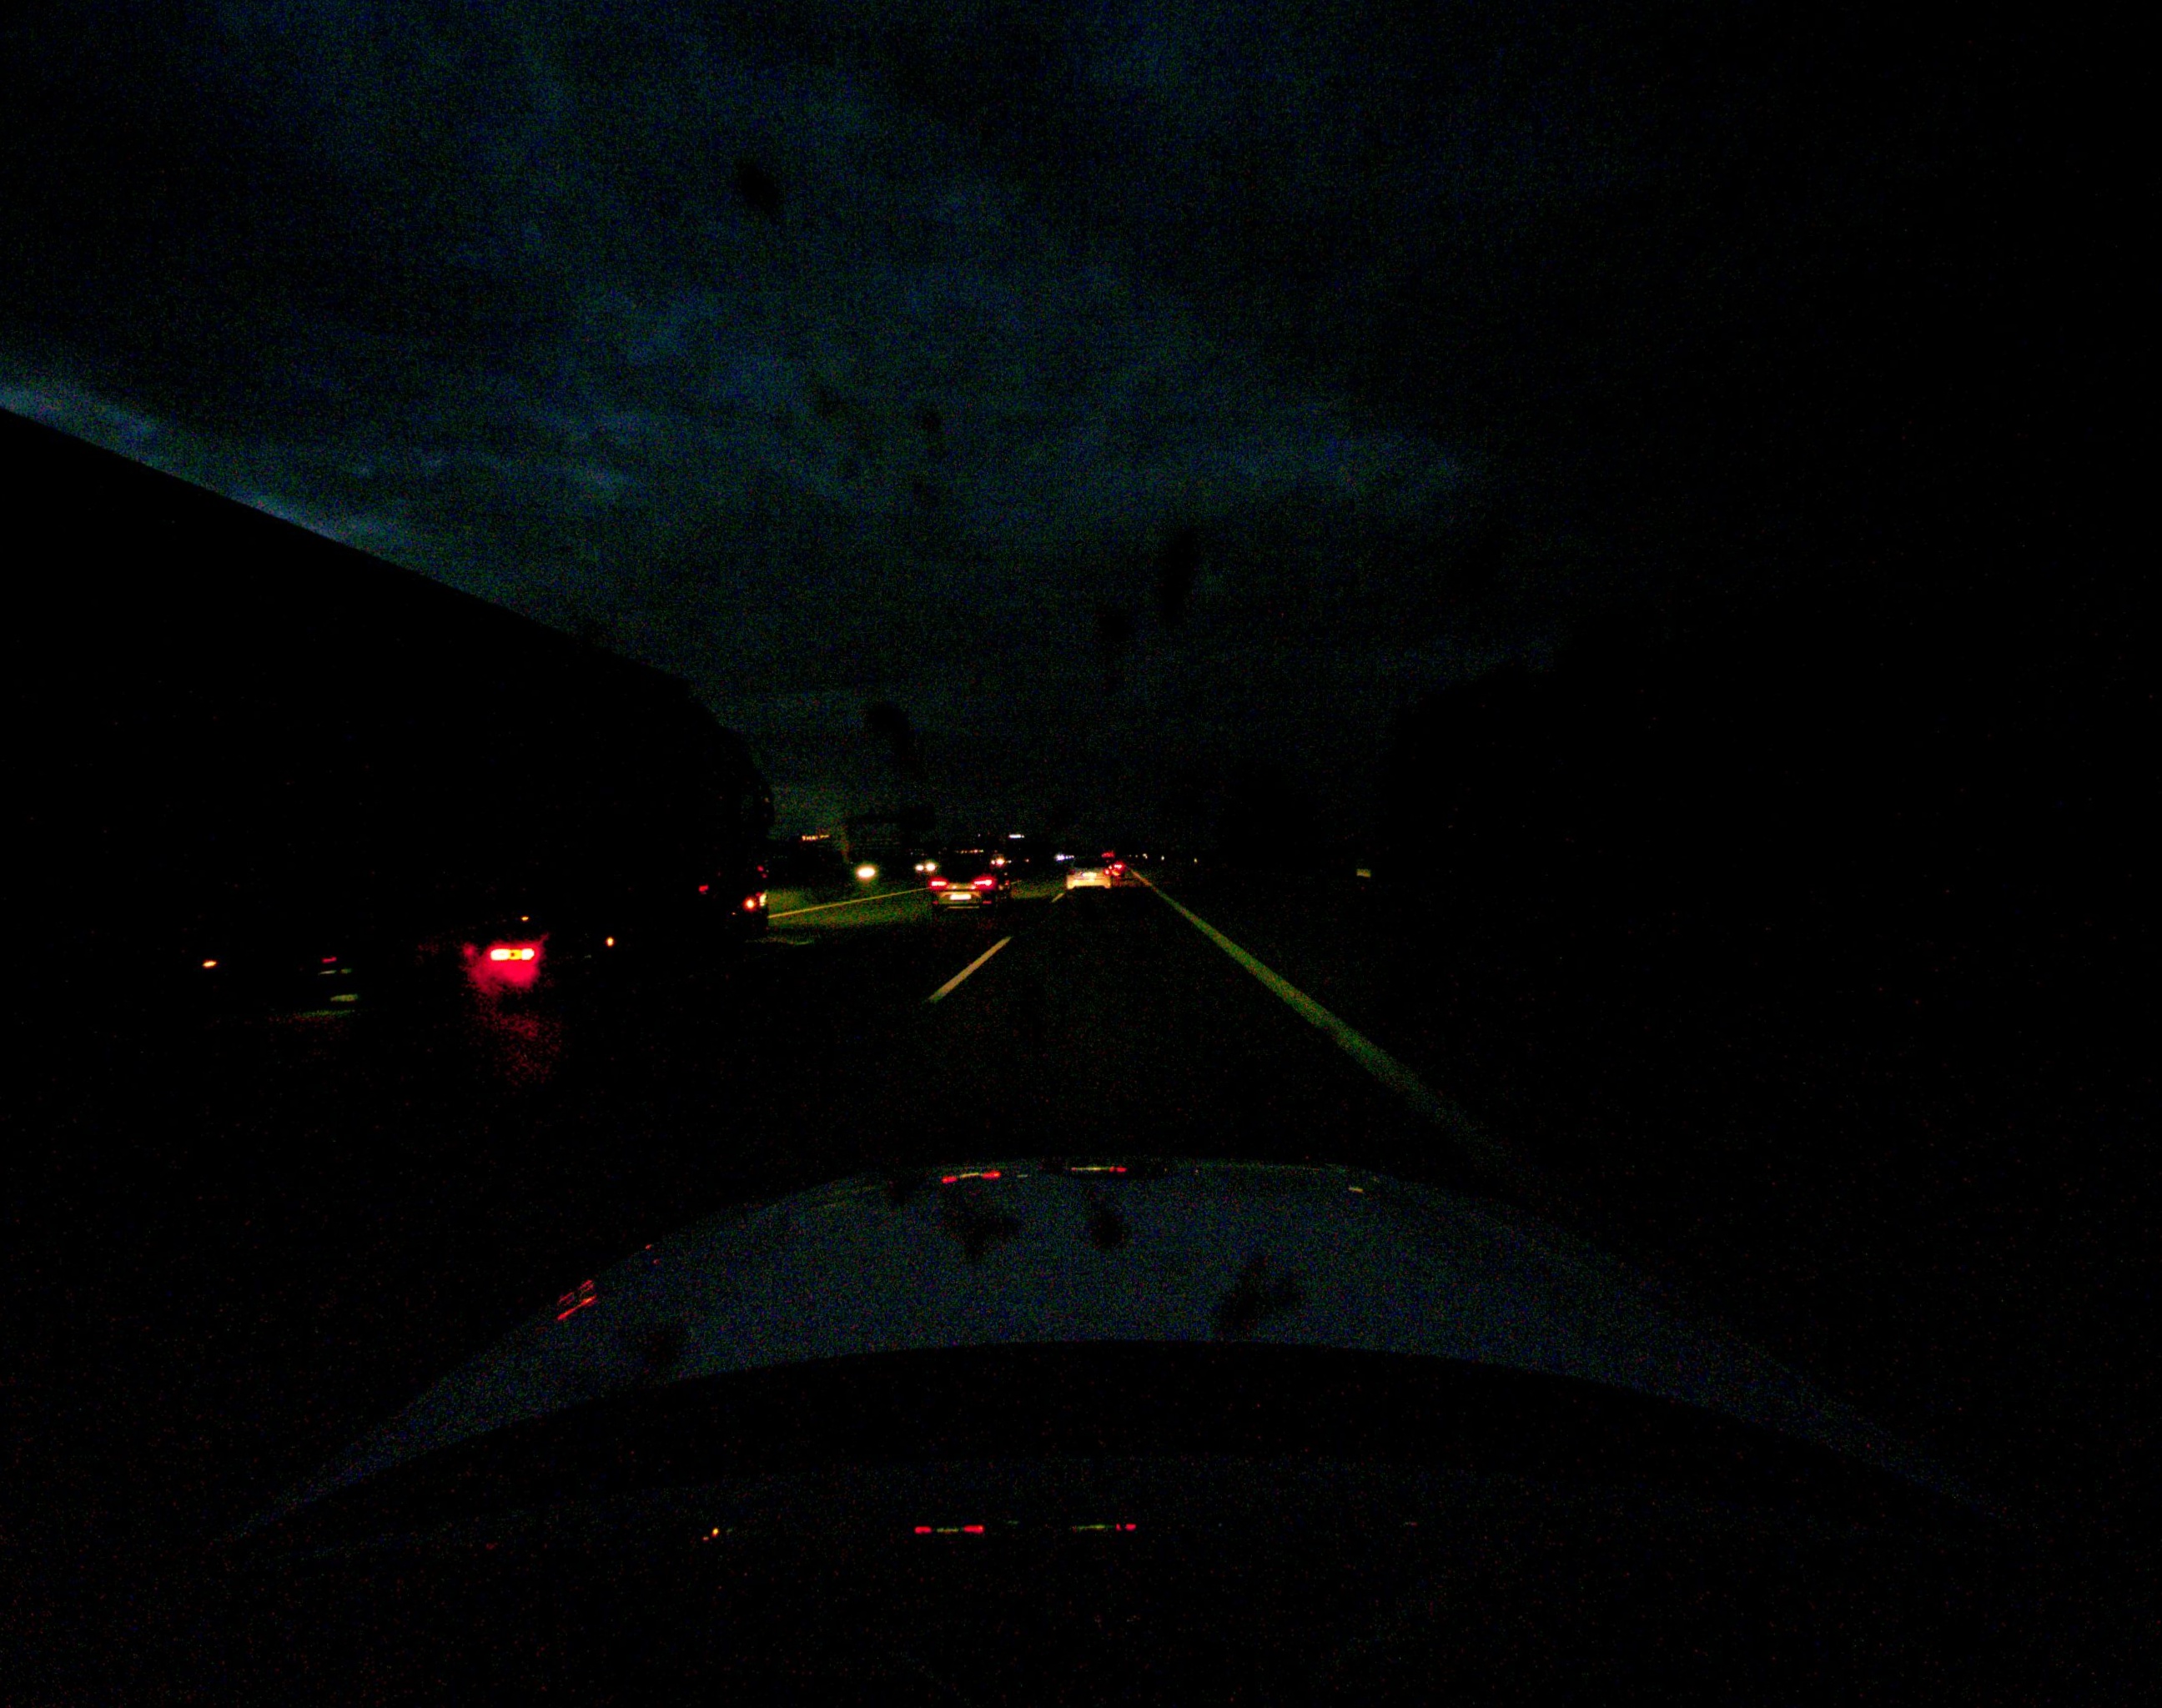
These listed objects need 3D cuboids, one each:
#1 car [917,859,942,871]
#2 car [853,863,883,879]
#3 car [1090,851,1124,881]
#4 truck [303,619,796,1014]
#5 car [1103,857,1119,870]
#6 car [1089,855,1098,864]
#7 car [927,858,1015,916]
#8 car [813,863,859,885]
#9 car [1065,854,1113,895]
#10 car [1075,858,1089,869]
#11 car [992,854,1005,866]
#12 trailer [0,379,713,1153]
[{"bbox_3d":[-19.410,1.438,104.514,1.986,1.521,5.838,-1,-1,2],"label":"car"},{"bbox_3d":[-16.812,1.340,64.307,1.358,1.261,3.508,-1,-1,2],"label":"car"},{"bbox_3d":[1.537,0.668,47.256,1.873,1.643,4.001,-1,-1,2],"label":"car"},{"bbox_3d":[-6.711,-0.362,11.660,2.766,4.093,6.107,-2,-1,3],"label":"truck"},{"bbox_3d":[3.724,1.200,101.596,1.873,1.552,4.001,-1,-1,1],"label":"car"},{"bbox_3d":[2.897,1.270,187.729,2.191,1.879,4.001,-1,-1,2],"label":"car"},{"bbox_3d":[-2.987,0.863,23.037,1.716,1.471,4.727,-1,-1,2],"label":"car"},{"bbox_3d":[-13.954,1.129,46.549,1.442,1.233,3.508,-1,-1,2],"label":"car"},{"bbox_3d":[0.379,0.776,32.345,1.737,1.525,4.416,-1,-1,2],"label":"car"},{"bbox_3d":[0.153,1.465,121.858,1.873,1.552,4.001,-1,-1,1],"label":"car"},{"bbox_3d":[-16.848,1.174,166.573,1.986,2.388,5.838,-1,-1,2],"label":"car"},{"bbox_3d":[-7.068,-0.440,4.443,2.782,4.085,14.535,-2,-1,3],"label":"trailer"}]
